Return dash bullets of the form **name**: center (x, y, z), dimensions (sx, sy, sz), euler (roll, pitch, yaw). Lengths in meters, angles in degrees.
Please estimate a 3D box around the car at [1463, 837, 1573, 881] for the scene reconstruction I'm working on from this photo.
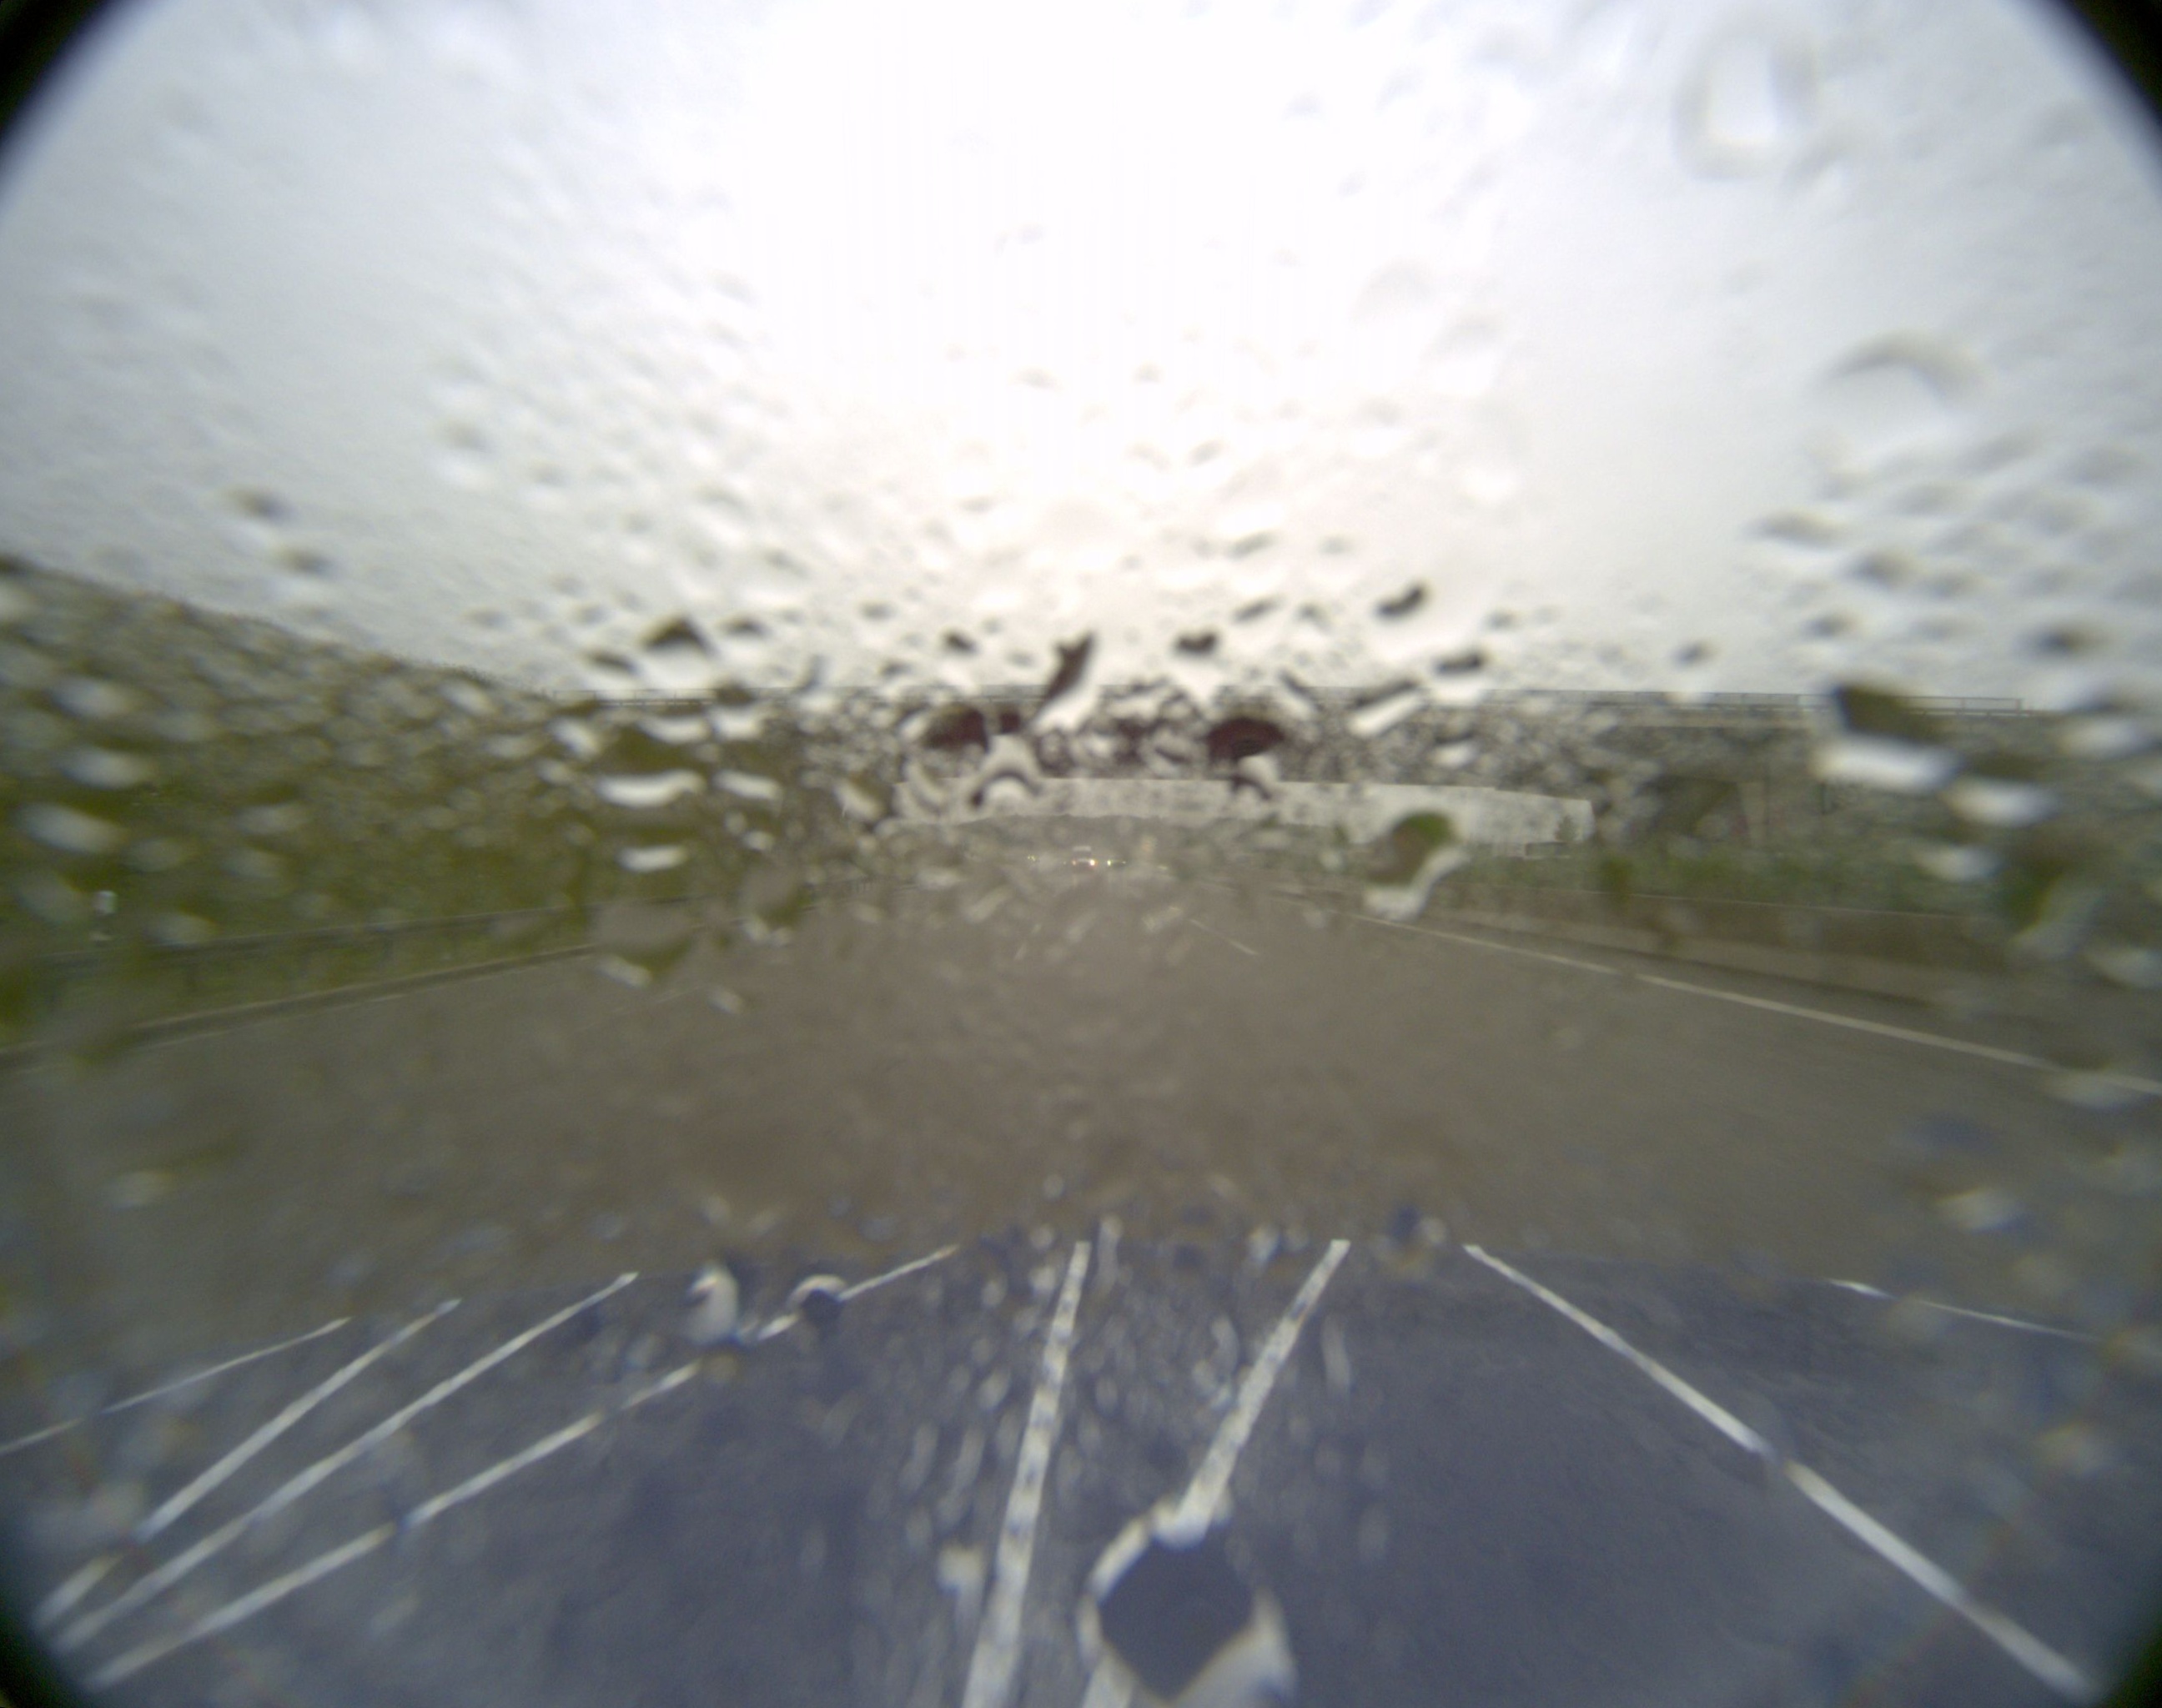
- **car**: center (15.674, 0.153, 27.518), dimensions (1.464, 1.432, 4.347), euler (-2, 0, 0)

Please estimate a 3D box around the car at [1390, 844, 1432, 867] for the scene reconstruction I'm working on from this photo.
- **car**: center (20.370, 0.101, 46.944), dimensions (1.270, 1.324, 3.022), euler (-2, 0, 0)

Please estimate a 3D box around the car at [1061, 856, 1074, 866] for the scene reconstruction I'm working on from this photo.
- **car**: center (-2.186, 1.151, 125.765), dimensions (1.999, 1.521, 3.999), euler (-1, 0, 0)

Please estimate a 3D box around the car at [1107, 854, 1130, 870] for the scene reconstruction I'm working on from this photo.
- **car**: center (3.933, 0.842, 80.190), dimensions (1.999, 1.608, 3.999), euler (-1, 0, -2)

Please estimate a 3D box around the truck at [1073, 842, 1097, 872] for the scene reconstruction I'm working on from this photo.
- **truck**: center (0.336, 0.204, 74.923), dimensions (1.999, 2.699, 7.997), euler (-2, 1, -1)

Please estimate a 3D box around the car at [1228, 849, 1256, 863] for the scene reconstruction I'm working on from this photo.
- **car**: center (15.795, 0.188, 74.529), dimensions (1.883, 1.324, 4.000), euler (-2, 0, 0)

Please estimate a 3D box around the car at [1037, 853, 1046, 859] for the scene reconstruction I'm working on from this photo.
- **car**: center (-10.511, 0.496, 203.244), dimensions (1.998, 1.543, 4.000), euler (-1, 0, 2)
